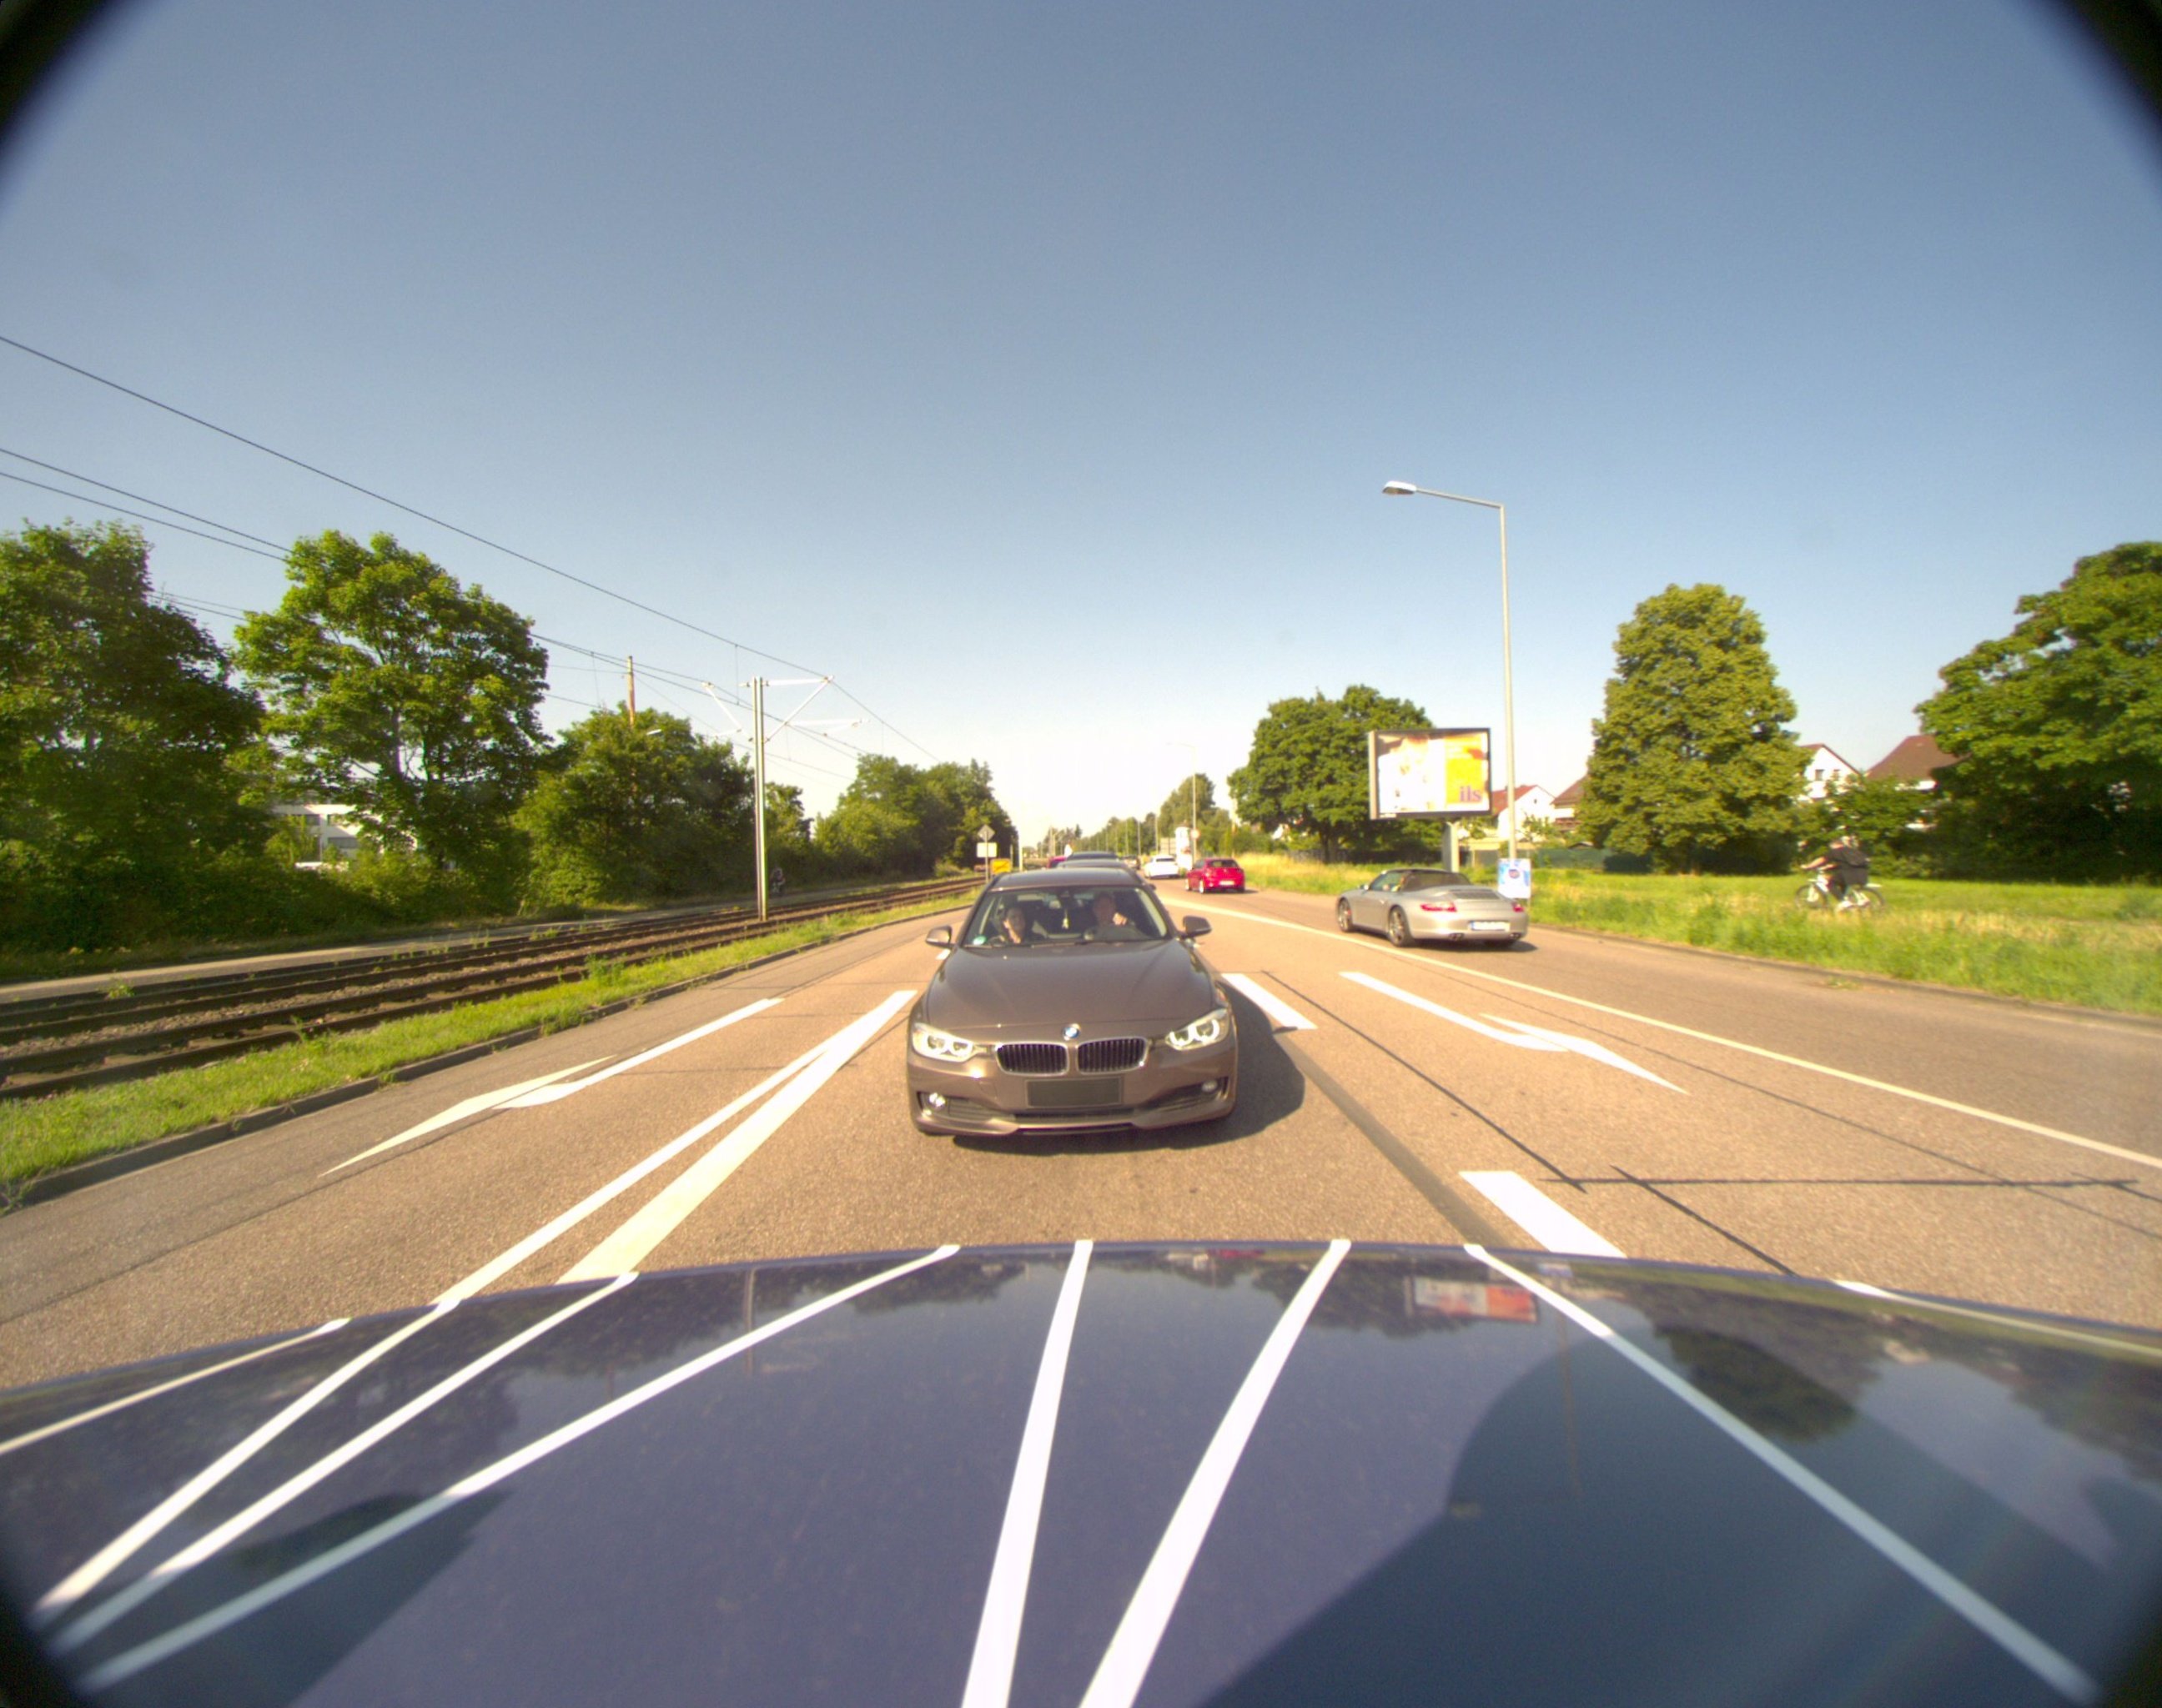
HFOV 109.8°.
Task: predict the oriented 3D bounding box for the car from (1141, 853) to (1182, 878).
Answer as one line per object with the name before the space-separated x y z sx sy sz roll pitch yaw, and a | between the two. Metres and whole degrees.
car | 4.914 0.685 46.714 1.784 1.469 4.271 -1 0 -4

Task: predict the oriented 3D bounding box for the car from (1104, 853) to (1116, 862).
car | 5.017 0.657 131.117 1.784 1.469 4.285 -1 0 -3

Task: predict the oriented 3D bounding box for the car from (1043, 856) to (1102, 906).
car | -0.243 0.858 25.984 1.807 1.498 4.197 -1 0 0

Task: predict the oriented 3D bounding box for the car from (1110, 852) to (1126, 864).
car | 4.992 0.541 102.808 1.784 1.469 4.285 -1 0 -3

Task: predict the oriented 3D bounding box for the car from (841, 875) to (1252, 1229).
car | -0.132 0.973 5.711 1.821 1.416 4.461 -2 0 1

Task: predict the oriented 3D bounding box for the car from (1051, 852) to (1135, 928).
car | 0.287 0.798 19.351 1.821 1.641 4.611 -2 0 0

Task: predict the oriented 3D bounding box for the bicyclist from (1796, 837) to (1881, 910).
bicyclist | 15.324 0.386 15.398 0.638 1.420 1.072 -1 0 2

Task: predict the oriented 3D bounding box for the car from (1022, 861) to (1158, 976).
car | 0.140 0.898 12.651 1.821 1.481 4.611 -1 0 0

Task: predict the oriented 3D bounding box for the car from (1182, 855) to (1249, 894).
car | 5.422 0.801 31.082 1.784 1.469 3.912 -1 0 -4

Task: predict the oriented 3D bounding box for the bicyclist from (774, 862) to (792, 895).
bicyclist | -16.510 1.357 42.101 0.708 1.797 0.717 -1 1 0

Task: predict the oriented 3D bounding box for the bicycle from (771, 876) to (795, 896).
bicycle | -16.494 1.763 42.126 0.547 1.041 1.873 -1 0 0

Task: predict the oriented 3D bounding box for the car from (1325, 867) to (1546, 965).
car | 5.846 0.935 13.188 1.784 1.302 4.286 -1 0 -1

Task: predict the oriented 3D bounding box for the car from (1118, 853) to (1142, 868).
car | 4.903 0.619 76.045 1.784 1.469 4.285 -1 0 -4

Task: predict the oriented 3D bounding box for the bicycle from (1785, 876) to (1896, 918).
bicycle | 15.325 0.845 15.405 0.455 0.749 1.834 -1 0 2
